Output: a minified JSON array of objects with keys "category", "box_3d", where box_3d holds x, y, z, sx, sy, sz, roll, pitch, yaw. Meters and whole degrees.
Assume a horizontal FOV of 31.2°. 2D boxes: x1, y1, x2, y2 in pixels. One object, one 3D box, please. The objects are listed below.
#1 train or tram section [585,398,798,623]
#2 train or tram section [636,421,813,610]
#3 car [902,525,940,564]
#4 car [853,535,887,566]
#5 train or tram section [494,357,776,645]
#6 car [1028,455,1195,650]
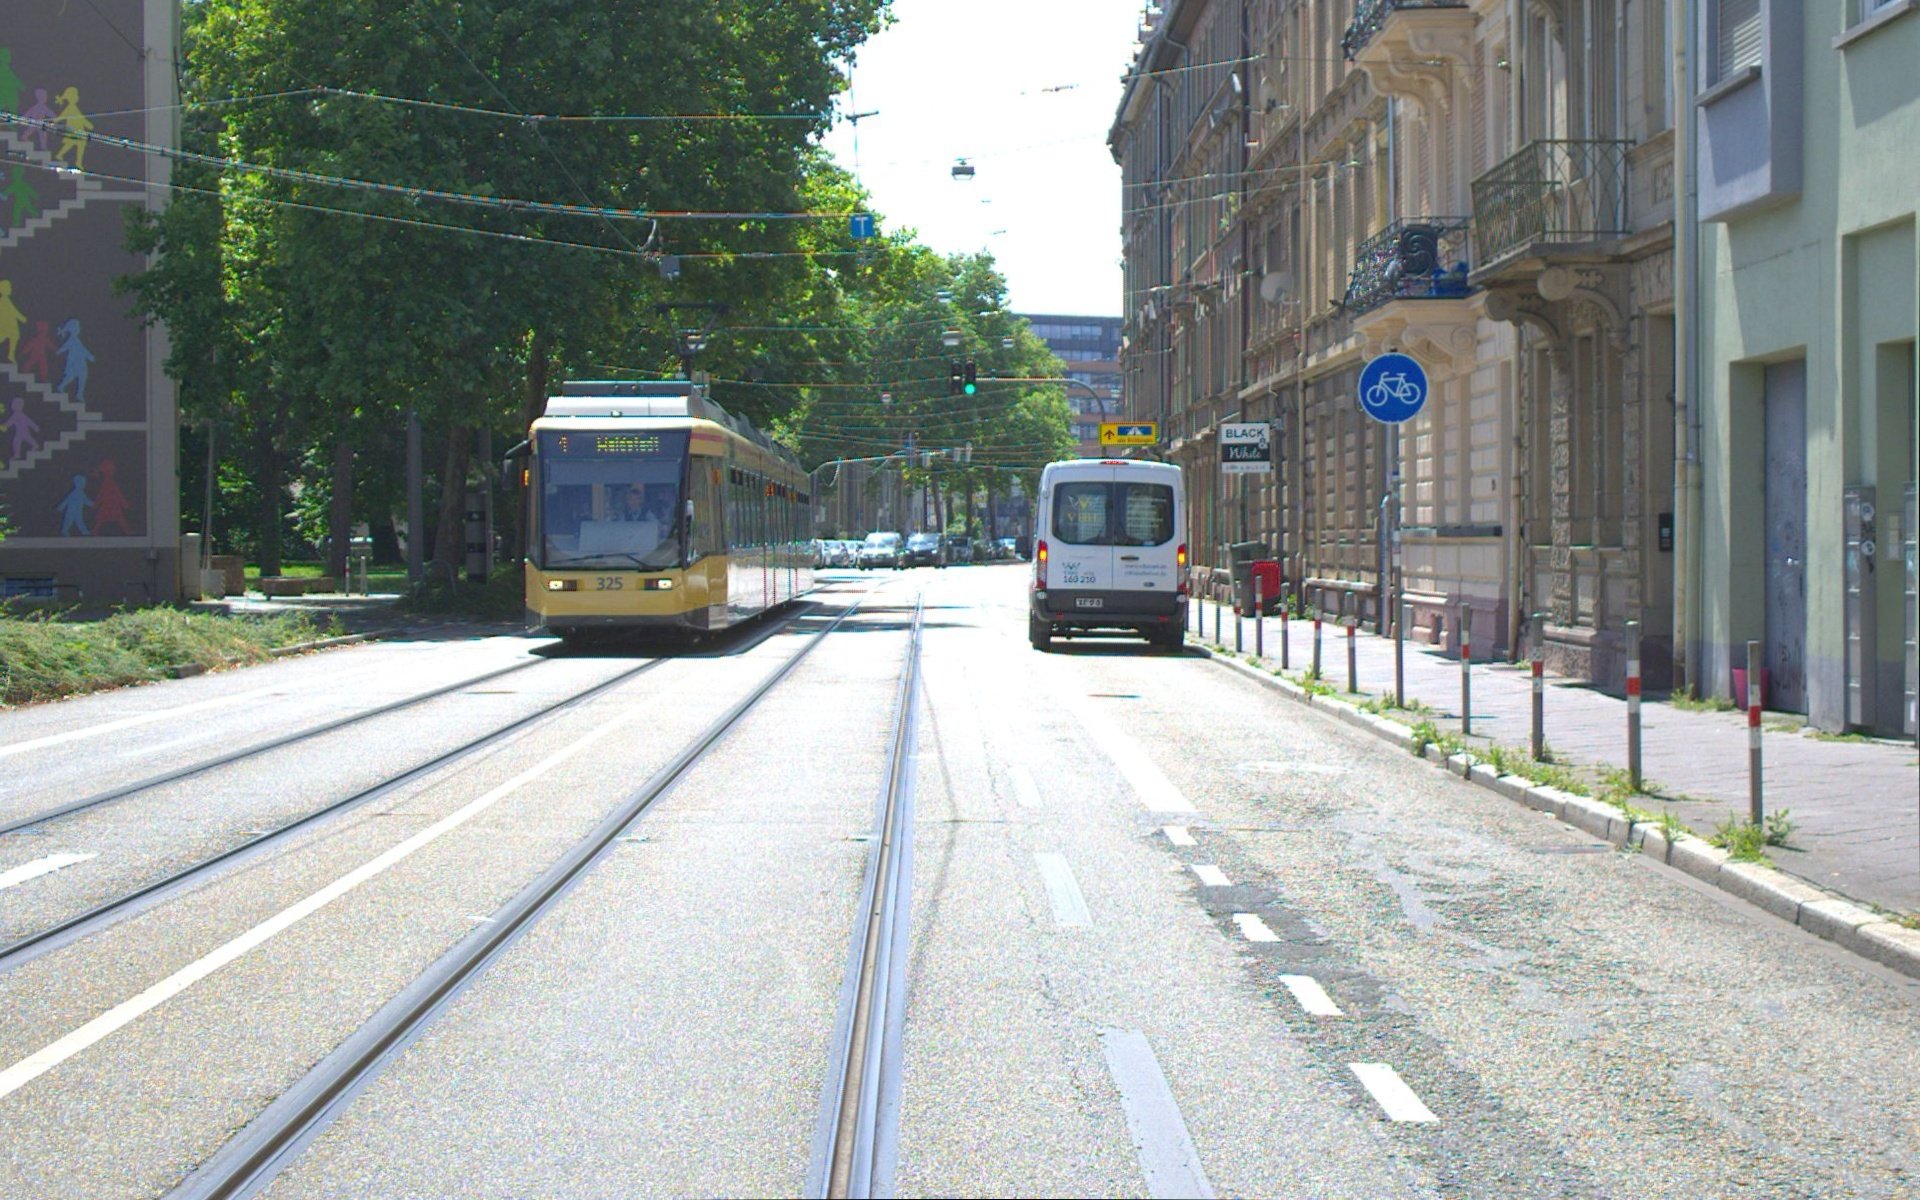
[{"category":"train or tram section","box_3d":[-4.591,-1.559,61.478,2.960,3.568,13.424,0,1,-1]},{"category":"train or tram section","box_3d":[-4.748,-1.727,71.723,2.960,3.568,13.424,0,1,-1]},{"category":"car","box_3d":[-1.909,-2.733,168.725,1.673,1.853,4.001,1,1,-3]},{"category":"car","box_3d":[-4.266,-2.329,162.137,1.528,1.404,3.490,1,1,-3]},{"category":"train or tram section","box_3d":[-4.390,-1.359,49.304,2.960,3.568,13.424,0,1,-1]},{"category":"car","box_3d":[2.019,-0.664,47.262,2.067,2.492,5.454,1,1,1]}]
